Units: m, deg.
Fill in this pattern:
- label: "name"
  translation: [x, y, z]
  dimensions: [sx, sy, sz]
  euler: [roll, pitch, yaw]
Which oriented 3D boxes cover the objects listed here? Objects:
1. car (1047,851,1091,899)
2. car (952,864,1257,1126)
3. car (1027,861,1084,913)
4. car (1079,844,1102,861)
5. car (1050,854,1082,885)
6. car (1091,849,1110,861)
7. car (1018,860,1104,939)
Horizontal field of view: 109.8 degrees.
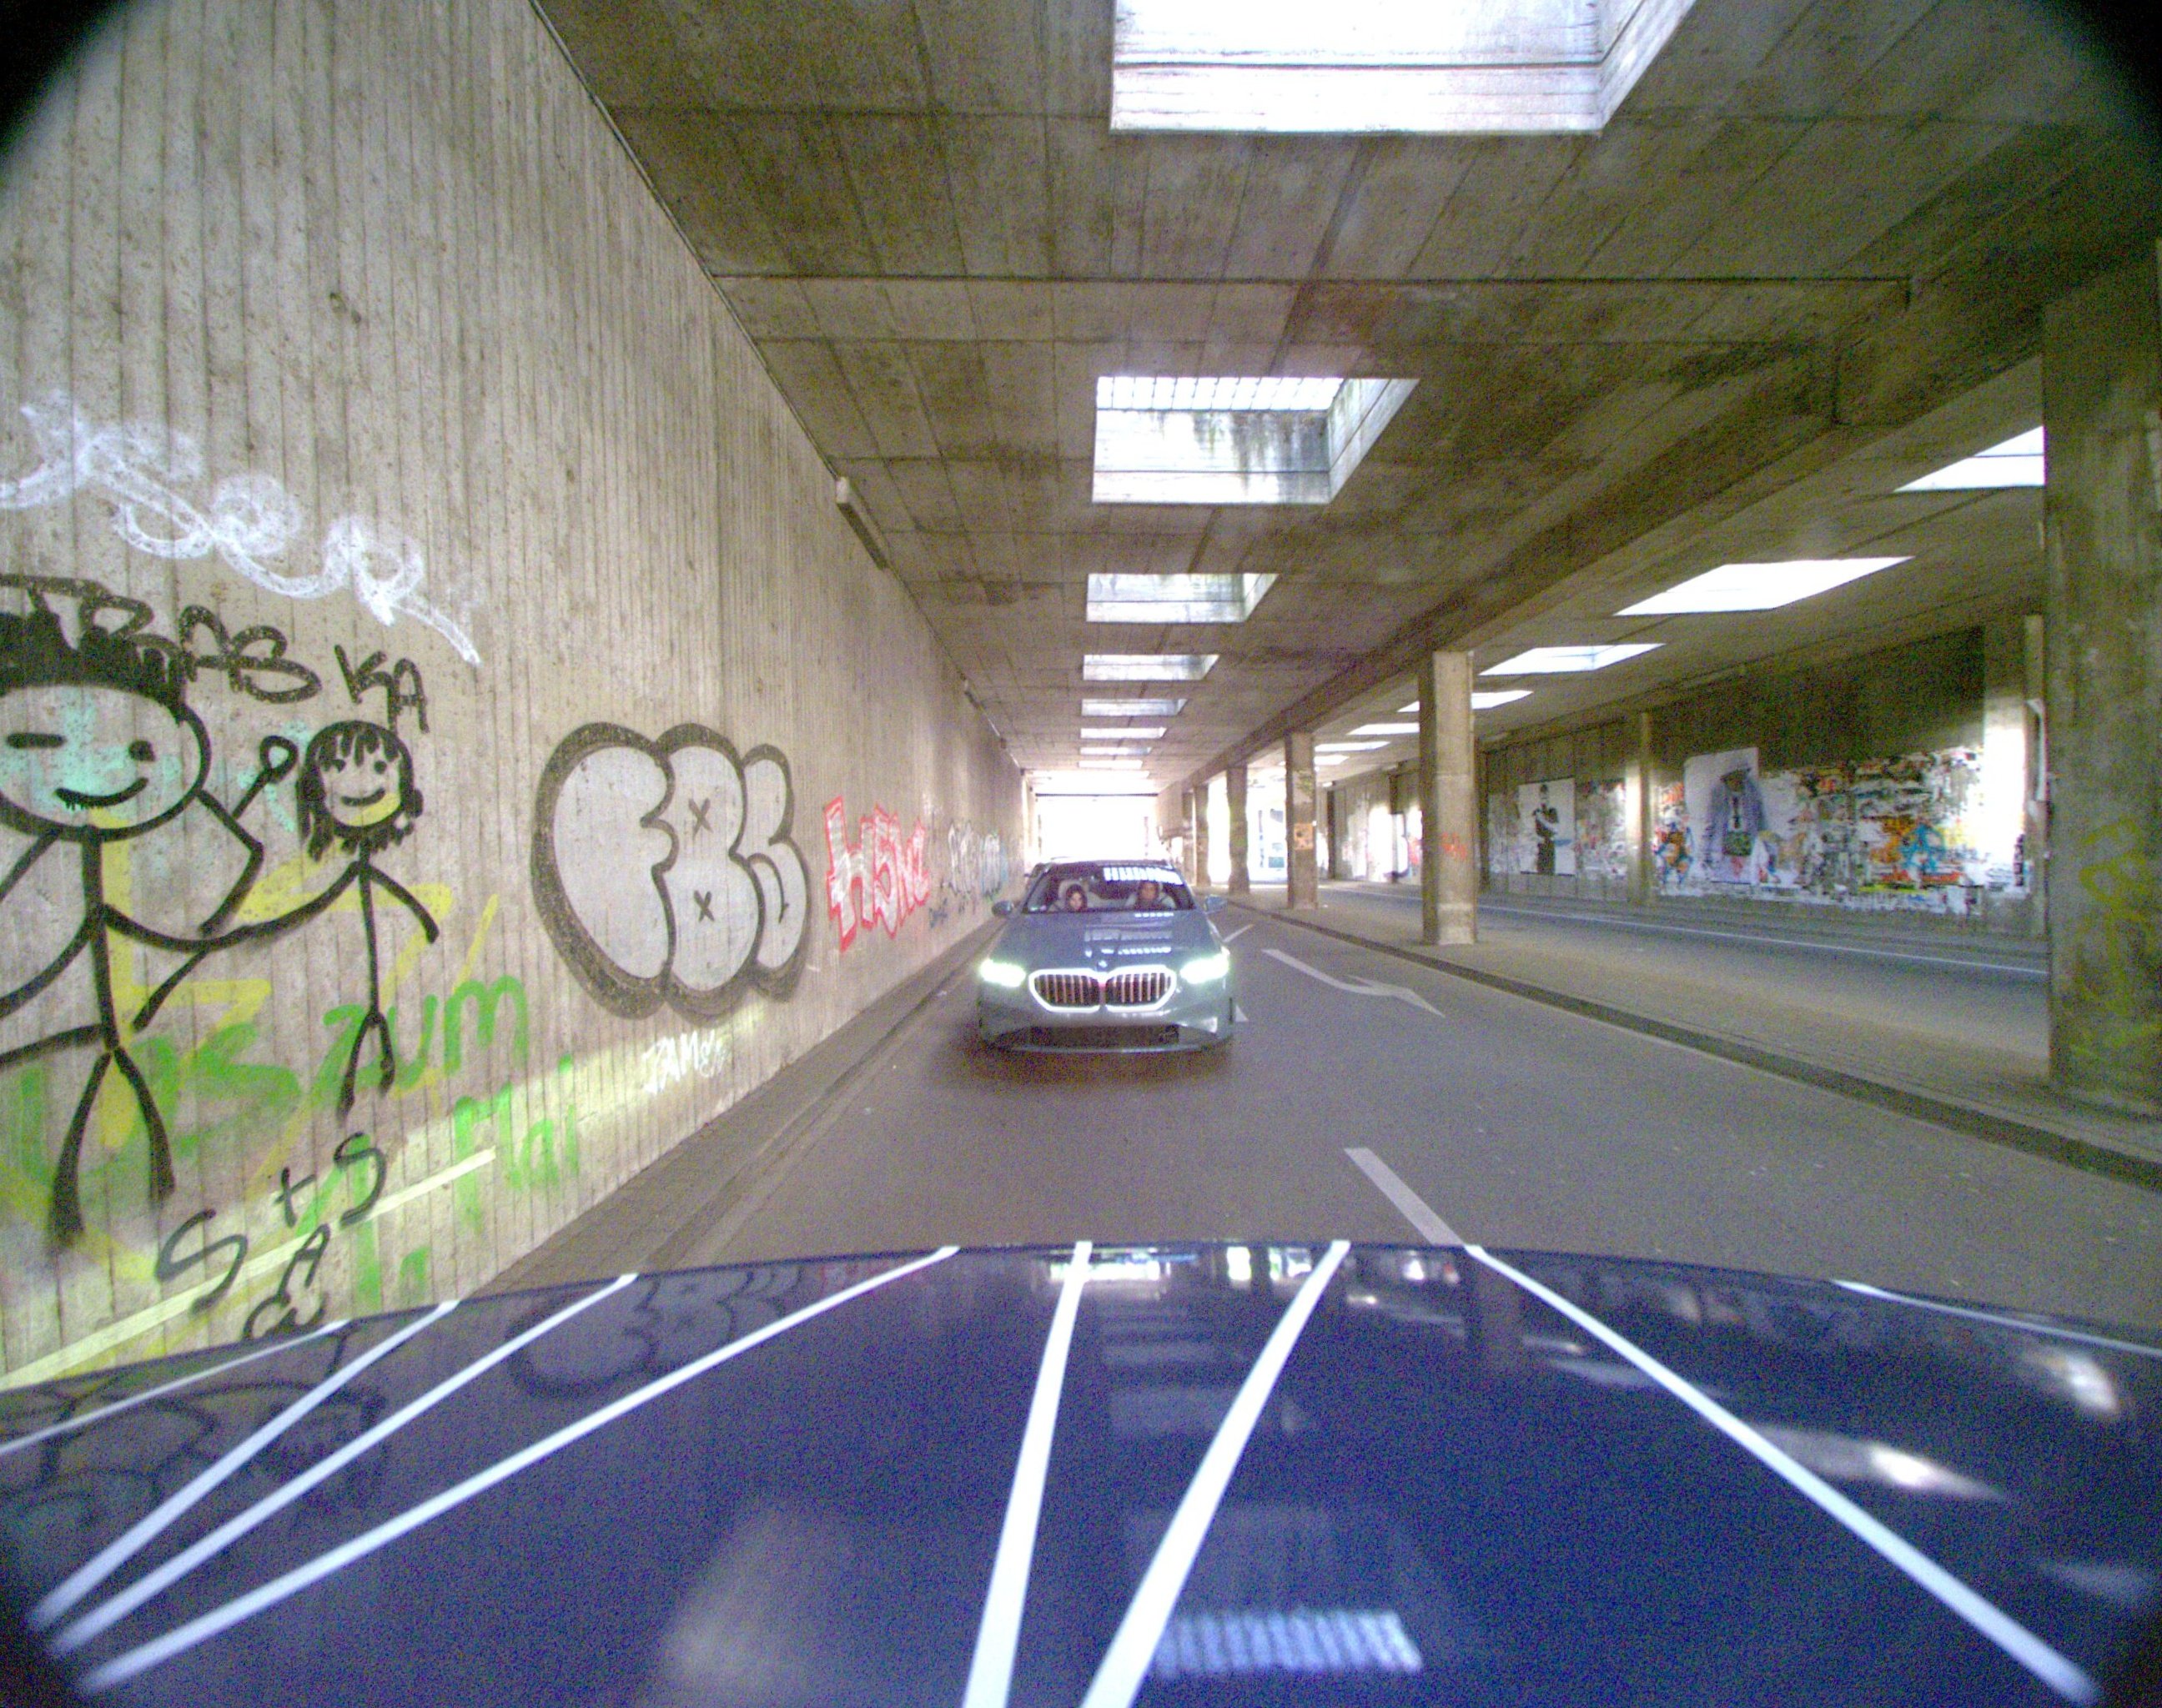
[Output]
- label: "car"
  translation: [-0.454, 0.781, 29.891]
  dimensions: [1.592, 1.711, 3.694]
  euler: [-2, 0, 0]
- label: "car"
  translation: [0.135, 0.914, 7.250]
  dimensions: [1.861, 1.516, 5.042]
  euler: [-2, 0, 0]
- label: "car"
  translation: [-0.753, 0.958, 23.885]
  dimensions: [1.592, 1.432, 3.806]
  euler: [-2, 0, 0]
- label: "car"
  translation: [1.295, -0.176, 103.631]
  dimensions: [2.161, 2.150, 4.785]
  euler: [-2, 0, -12]
- label: "car"
  translation: [-0.797, 0.817, 41.219]
  dimensions: [1.592, 1.562, 3.694]
  euler: [-2, 0, 0]
- label: "car"
  translation: [2.492, 0.152, 97.939]
  dimensions: [1.741, 1.519, 3.786]
  euler: [-2, 0, -9]
- label: "car"
  translation: [-0.417, 0.930, 17.259]
  dimensions: [1.679, 1.516, 3.969]
  euler: [-2, 0, 0]
